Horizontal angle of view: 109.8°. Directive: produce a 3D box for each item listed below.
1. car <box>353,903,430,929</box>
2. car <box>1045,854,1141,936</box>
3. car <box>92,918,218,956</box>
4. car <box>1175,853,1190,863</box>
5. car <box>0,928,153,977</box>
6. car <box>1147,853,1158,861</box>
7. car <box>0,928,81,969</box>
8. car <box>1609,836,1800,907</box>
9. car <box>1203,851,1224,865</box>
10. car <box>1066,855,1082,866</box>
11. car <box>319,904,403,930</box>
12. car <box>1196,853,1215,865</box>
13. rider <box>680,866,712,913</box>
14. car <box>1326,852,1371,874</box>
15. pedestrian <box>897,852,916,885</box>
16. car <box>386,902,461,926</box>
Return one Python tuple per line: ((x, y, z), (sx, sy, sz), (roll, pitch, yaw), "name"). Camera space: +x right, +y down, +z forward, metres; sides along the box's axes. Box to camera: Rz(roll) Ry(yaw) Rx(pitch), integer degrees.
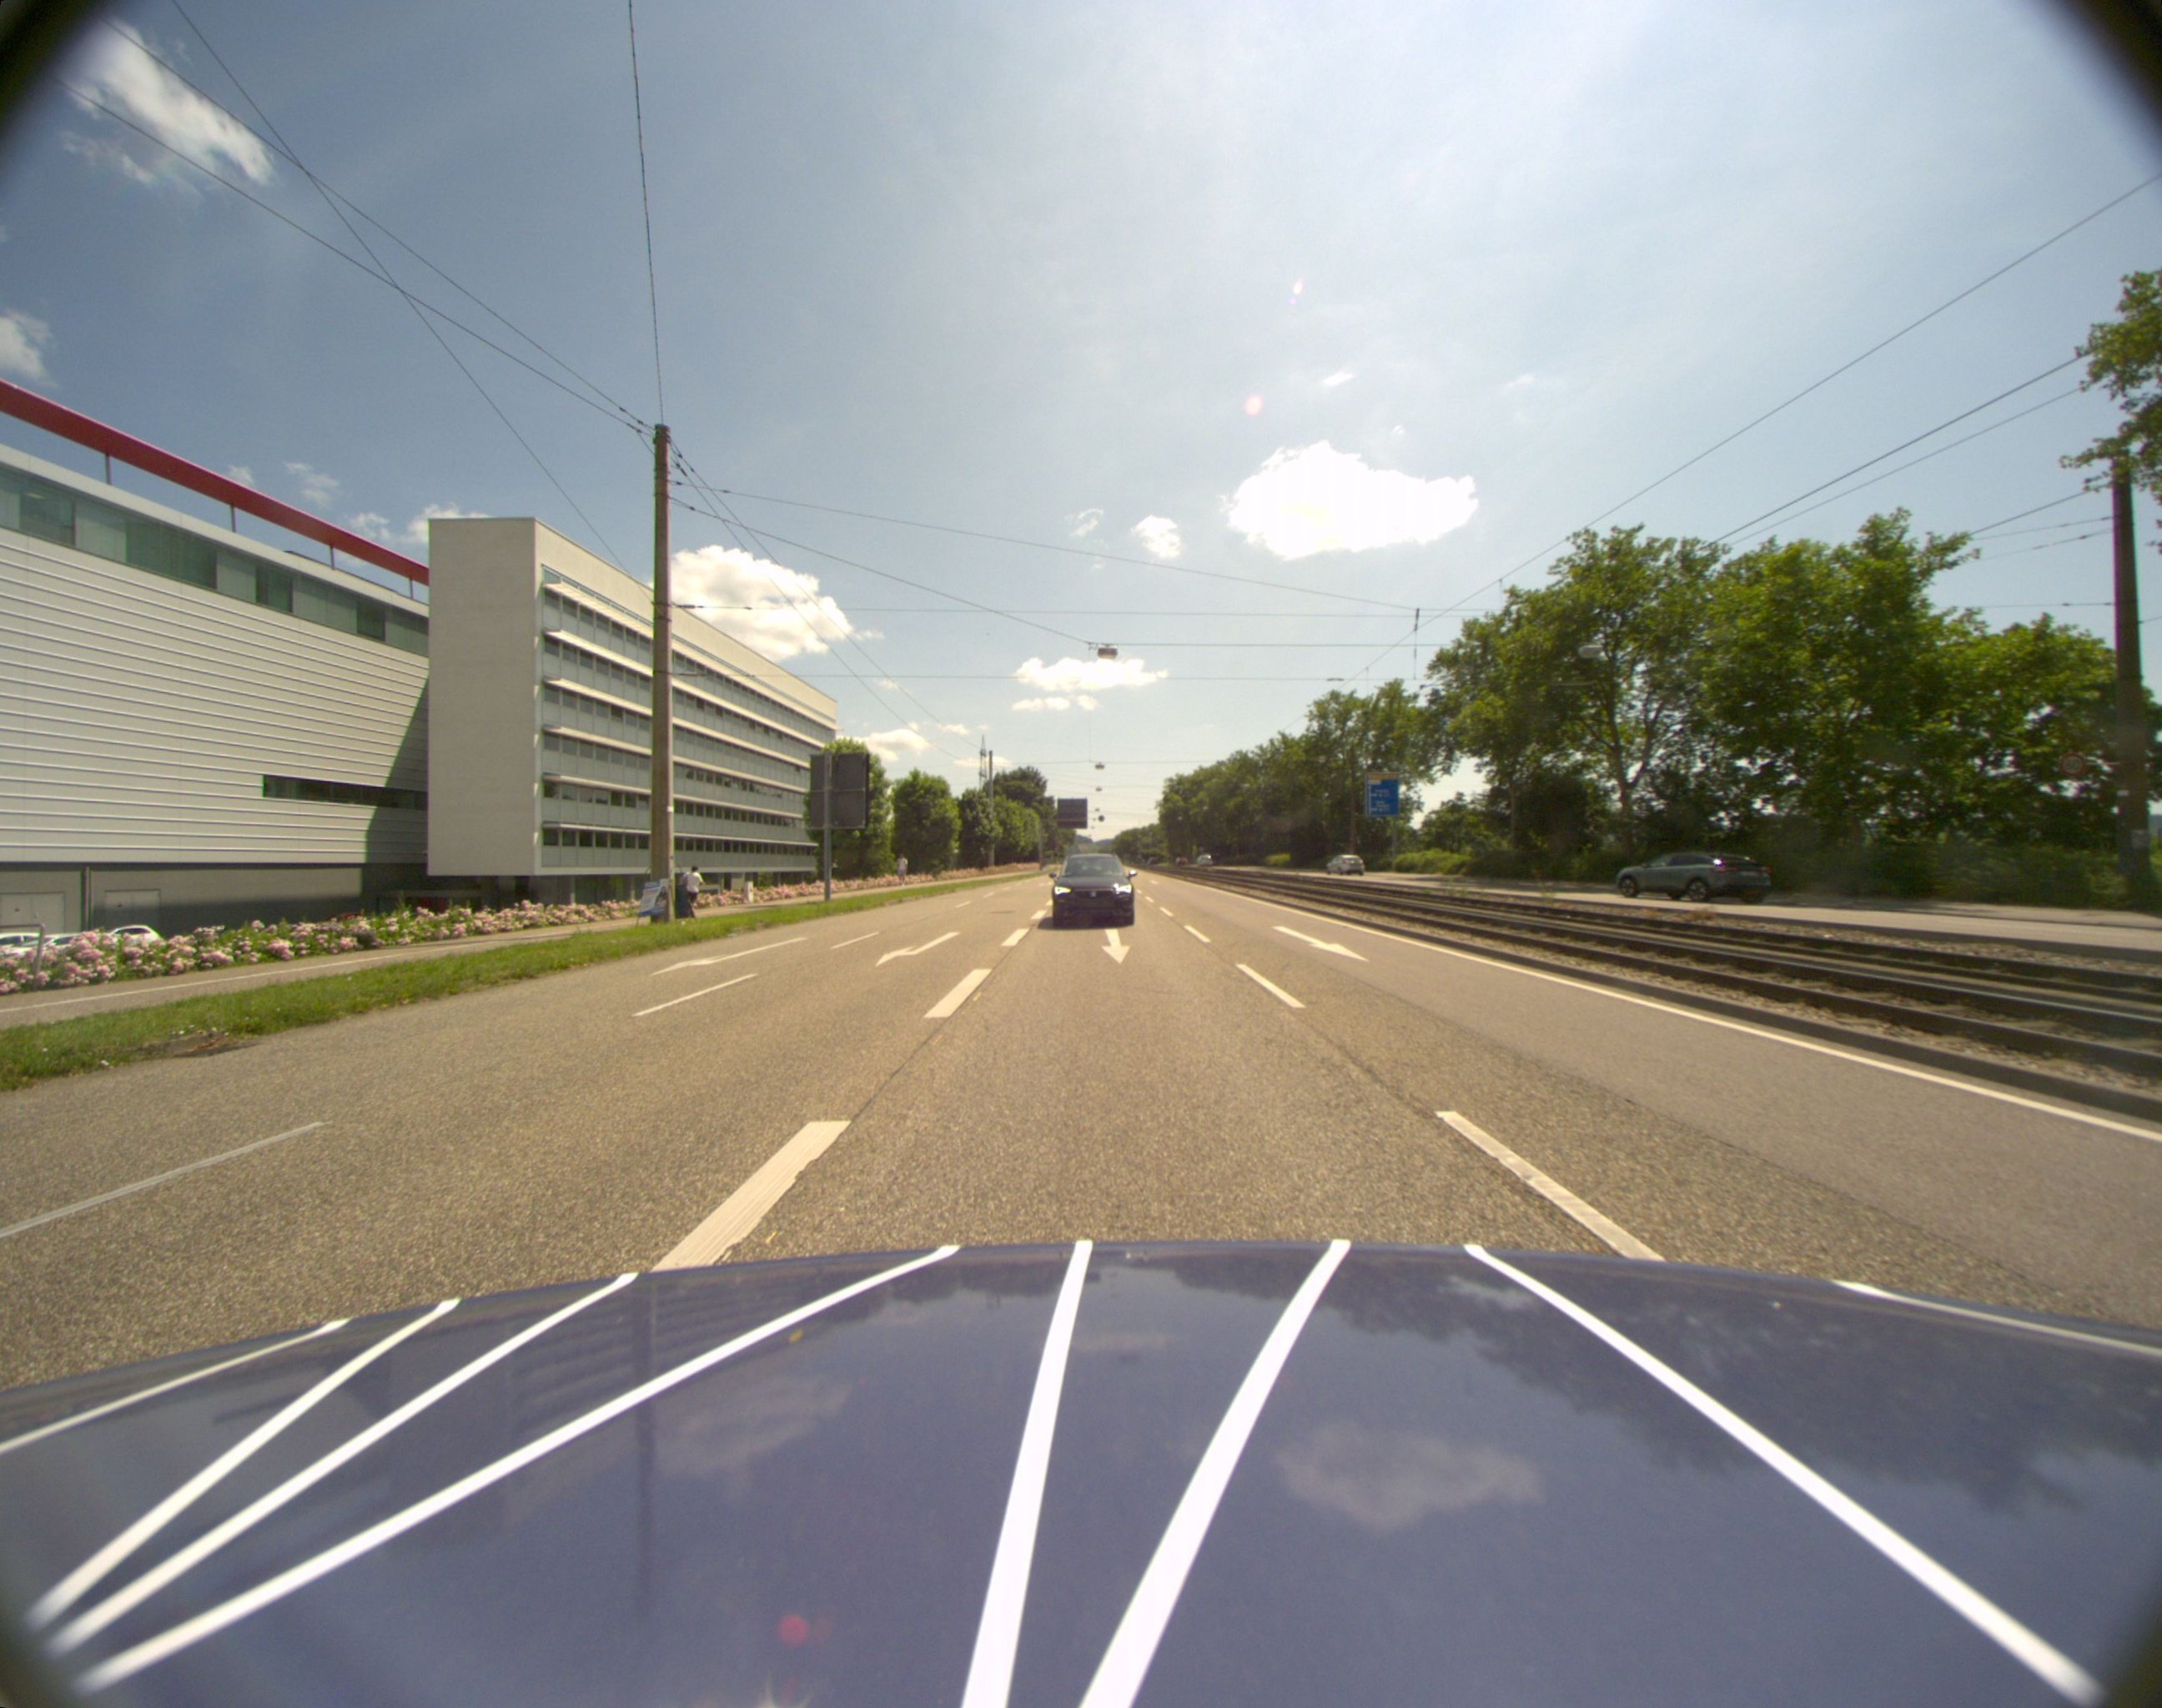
((-47.988, 4.303, 52.968), (1.648, 1.377, 4.000), (-2, 0, 1), "car")
((0.266, 0.833, 17.530), (1.898, 1.564, 4.511), (-1, 1, 1), "car")
((-51.060, 4.543, 42.048), (1.998, 1.602, 4.000), (-2, 0, 1), "car")
((18.753, 0.743, 140.657), (1.999, 1.660, 4.467), (1, 0, -1), "car")
((-48.625, 4.657, 36.382), (1.998, 1.602, 5.146), (-2, 0, 1), "car")
((16.615, 0.680, 177.799), (1.999, 1.820, 4.969), (1, 0, -1), "car")
((-51.320, 4.566, 36.206), (1.998, 1.602, 4.000), (-2, 0, 1), "car")
((19.002, 0.437, 23.481), (1.999, 1.907, 4.408), (3, 1, -4), "car")
((18.877, 0.546, 108.132), (1.999, 1.820, 4.969), (1, 0, -1), "car")
((-0.862, 0.848, 97.047), (1.896, 1.331, 4.000), (-2, 0, 1), "car")
((-50.363, 4.378, 53.233), (1.998, 1.439, 4.000), (-2, 0, 1), "car")
((16.020, 0.626, 97.608), (1.690, 1.574, 4.058), (2, 0, -1), "car")
((-12.438, 1.134, 24.562), (0.671, 1.449, 0.618), (-2, 1, 1), "rider")
((19.176, 0.618, 54.598), (1.827, 1.407, 3.883), (2, 0, 0), "car")
((-10.037, 0.823, 43.679), (0.758, 1.838, 0.931), (-2, 1, 3), "pedestrian")
((-45.576, 4.135, 52.772), (1.609, 1.314, 4.000), (-2, 0, 1), "car")
